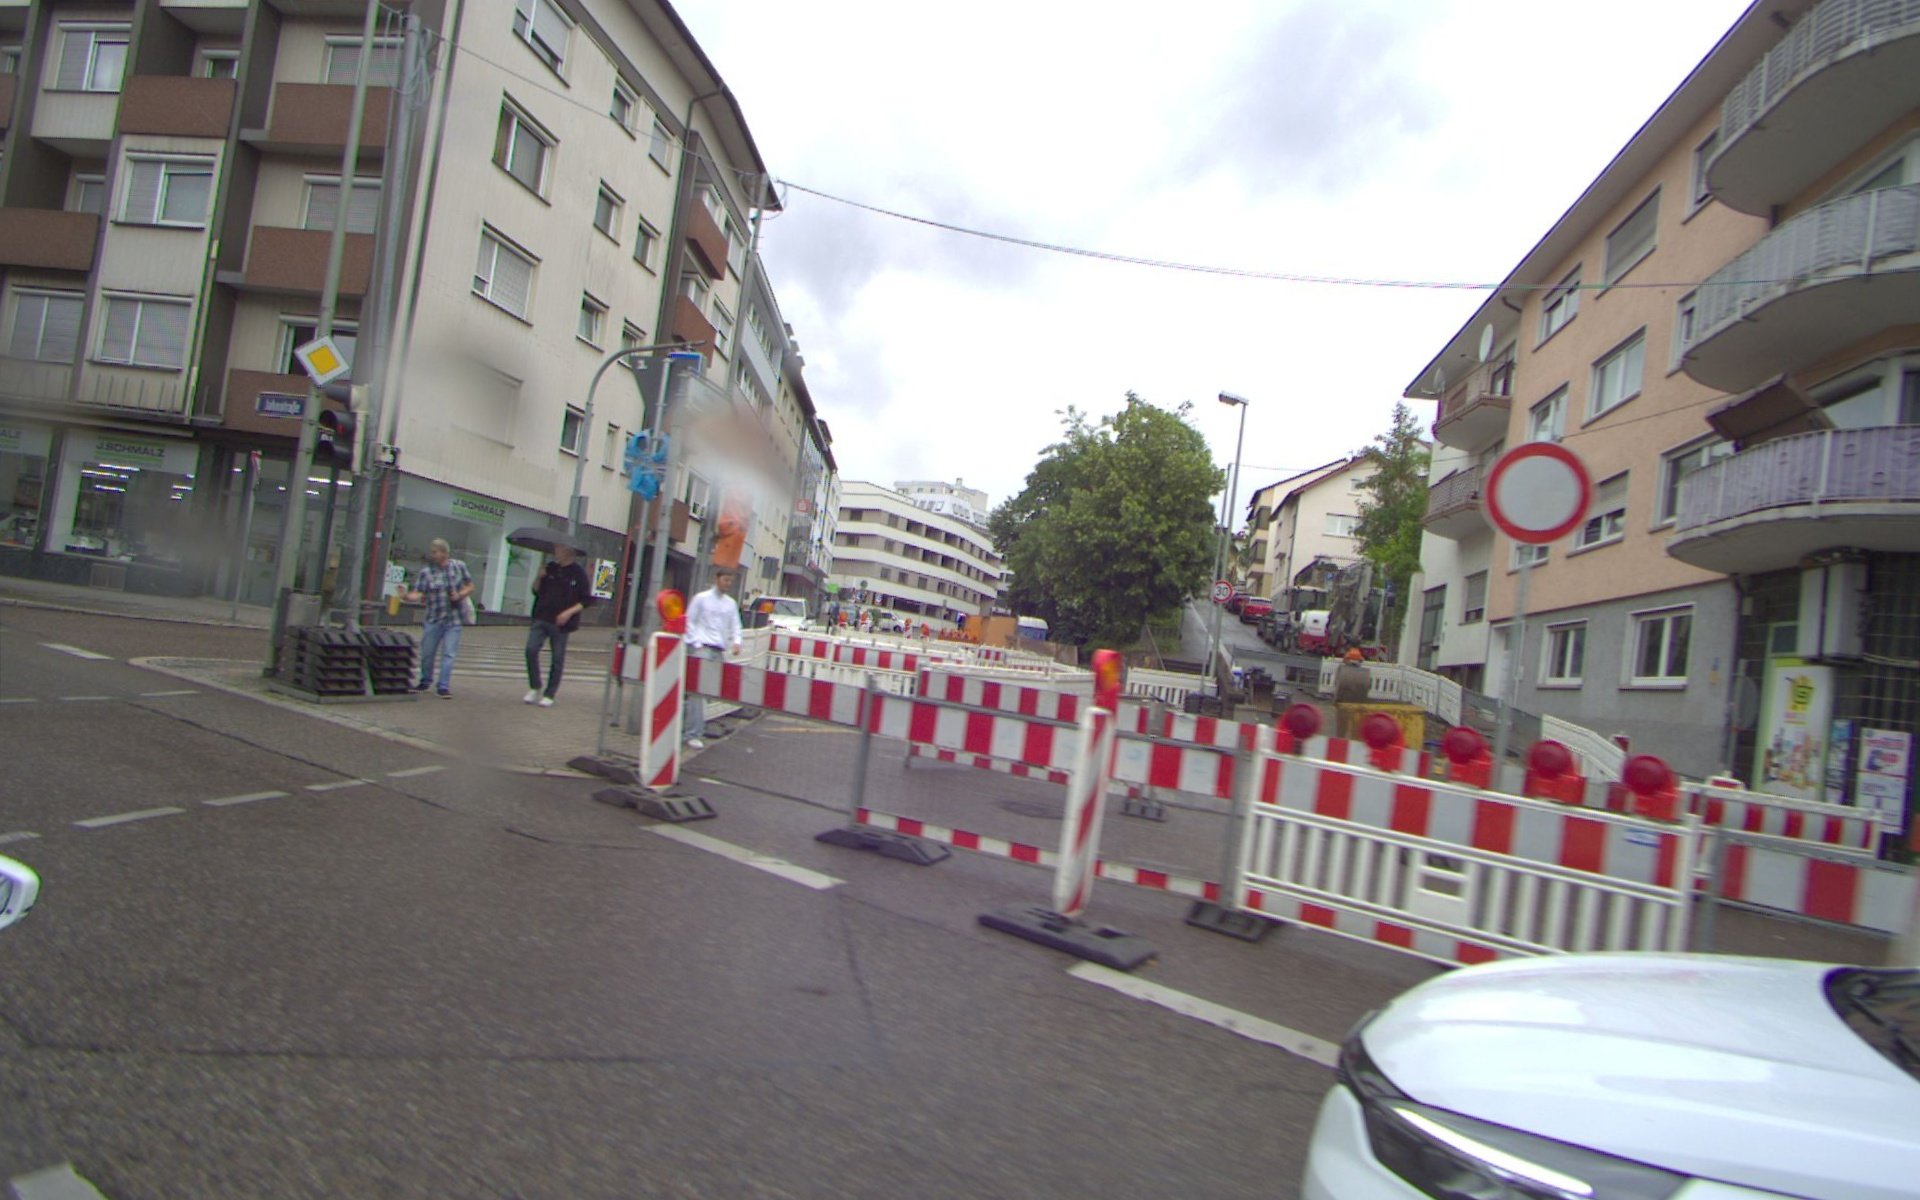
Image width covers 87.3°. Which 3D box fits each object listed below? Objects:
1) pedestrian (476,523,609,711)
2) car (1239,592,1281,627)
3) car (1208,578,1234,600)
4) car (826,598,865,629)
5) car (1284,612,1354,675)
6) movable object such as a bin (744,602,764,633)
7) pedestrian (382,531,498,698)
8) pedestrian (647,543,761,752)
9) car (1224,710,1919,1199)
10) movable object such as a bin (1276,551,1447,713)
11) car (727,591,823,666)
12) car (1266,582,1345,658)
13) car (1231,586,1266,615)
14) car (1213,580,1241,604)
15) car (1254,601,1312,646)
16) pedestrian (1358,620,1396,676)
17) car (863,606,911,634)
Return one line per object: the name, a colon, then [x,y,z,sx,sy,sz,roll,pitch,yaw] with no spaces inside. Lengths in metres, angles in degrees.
pedestrian: [-4.532,0.196,11.014,1.014,1.883,0.918,5,-1,-11]
car: [17.792,0.525,59.854,1.854,1.588,4.211,8,5,12]
car: [23.895,-1.023,92.199,1.854,1.588,4.737,8,5,11]
car: [-7.047,0.845,62.408,1.893,1.622,3.999,8,-1,-2]
car: [13.101,1.552,36.927,1.730,1.749,3.712,8,5,11]
movable object such as a bin: [-7.909,0.672,38.623,0.521,1.058,0.540,8,-4,0]
pedestrian: [-5.656,0.163,10.940,0.789,1.708,0.811,6,-2,-44]
pedestrian: [-2.537,0.437,9.896,0.650,1.902,0.987,8,0,-27]
car: [2.543,1.150,1.355,3.934,1.420,1.678,6,-1,32]
movable object such as a bin: [10.931,0.700,28.164,2.690,3.687,6.531,8,3,10]
car: [-5.156,0.772,28.663,1.964,1.741,4.796,6,-1,-3]
car: [14.579,0.755,42.765,1.855,2.654,5.089,7,5,7]
car: [20.294,-0.017,70.872,1.854,1.588,4.737,8,5,12]
car: [22.831,-0.694,86.264,1.854,1.588,4.737,8,5,11]
car: [15.442,1.076,48.249,1.854,1.588,4.537,8,5,10]
pedestrian: [14.902,1.709,35.970,0.754,1.836,0.811,7,3,3]
car: [-6.965,1.911,96.178,4.018,2.034,2.005,8,-4,7]
